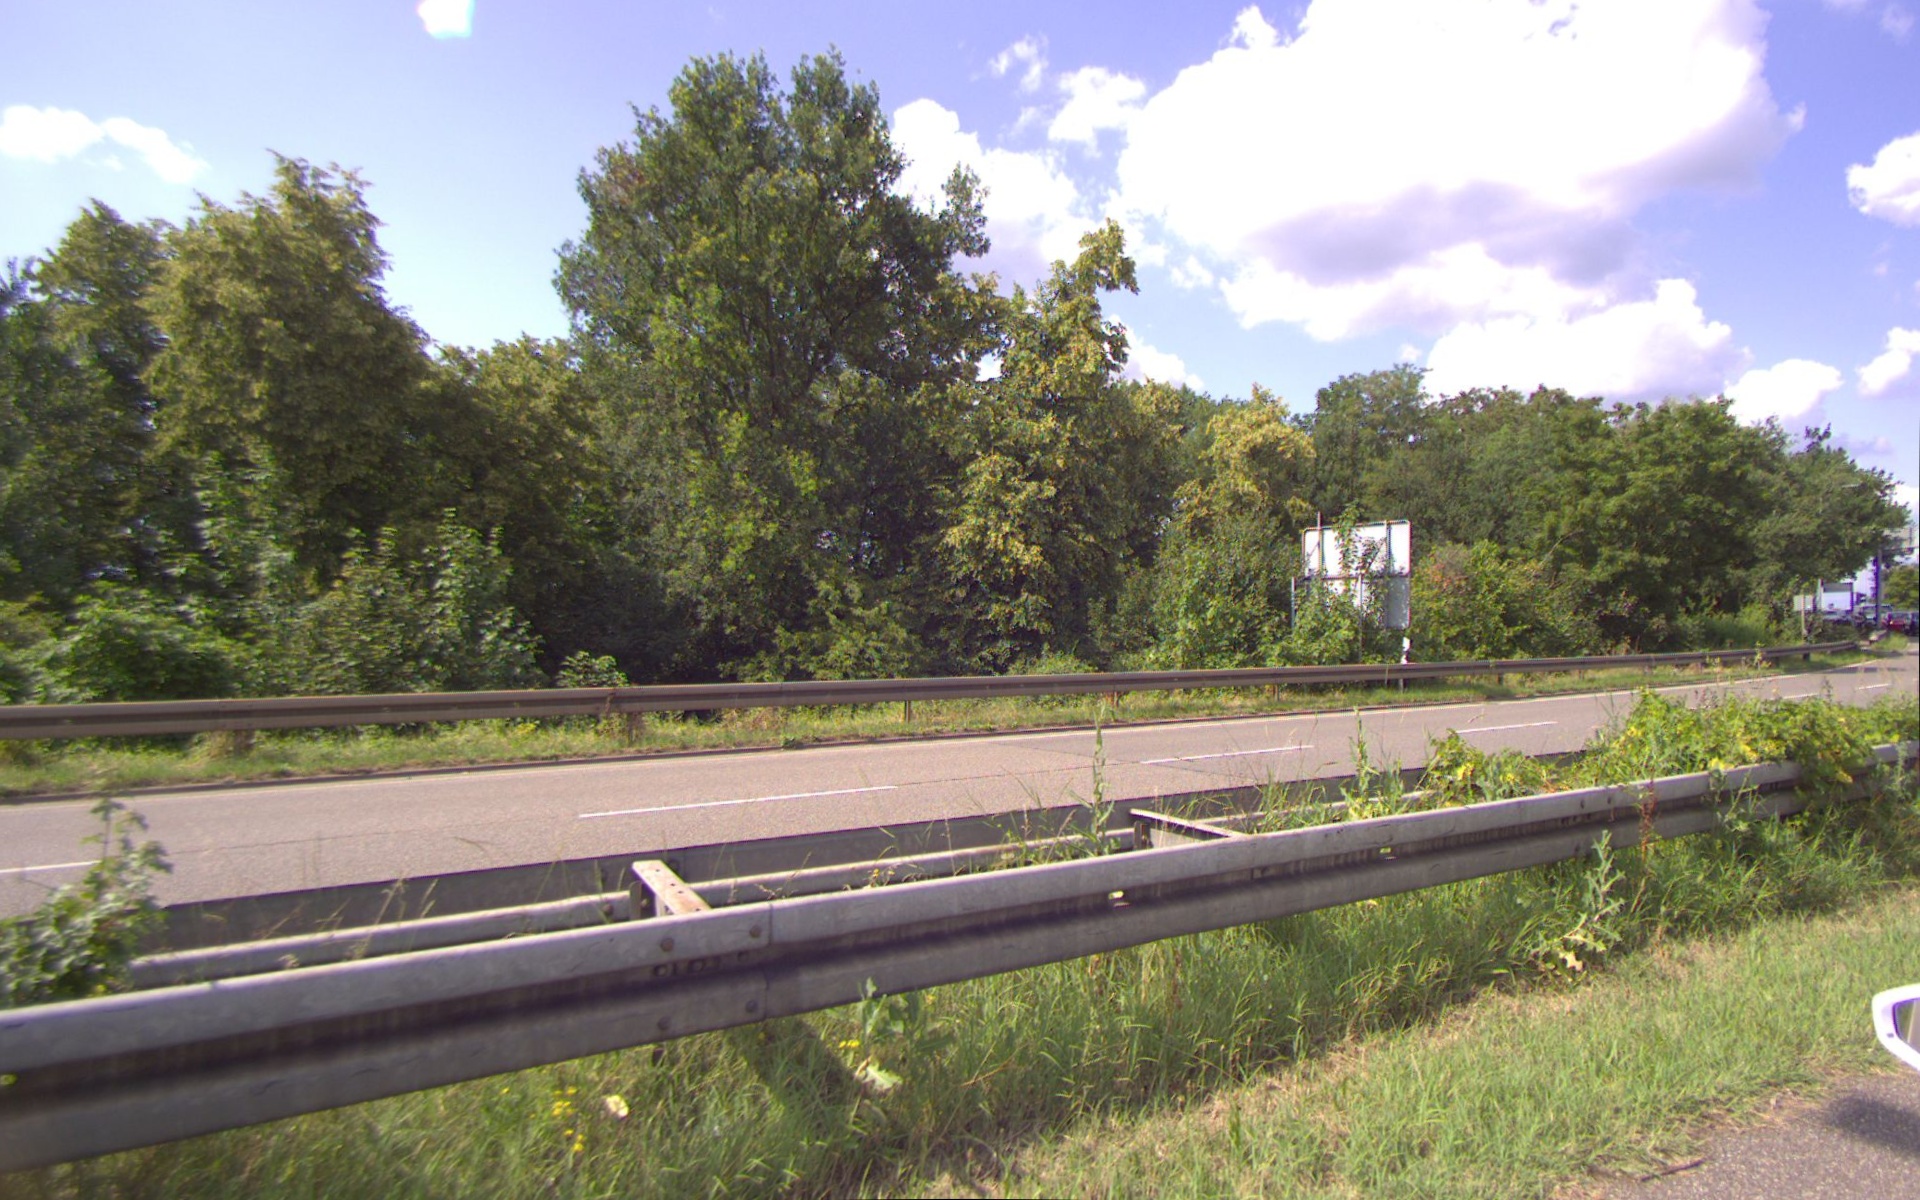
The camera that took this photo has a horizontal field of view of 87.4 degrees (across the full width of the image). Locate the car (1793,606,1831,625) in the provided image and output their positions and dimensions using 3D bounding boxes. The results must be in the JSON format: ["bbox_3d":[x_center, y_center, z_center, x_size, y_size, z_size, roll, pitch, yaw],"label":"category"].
[{"bbox_3d":[78.187,1.419,92.259,1.816,1.728,4.319,-1,-1,29],"label":"car"}]

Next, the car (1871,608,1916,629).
[{"bbox_3d":[67.306,1.334,72.464,1.708,1.496,4.035,-1,-1,33],"label":"car"}]

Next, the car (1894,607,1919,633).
[{"bbox_3d":[62.834,1.305,65.767,1.814,1.639,3.989,-1,-3,34],"label":"car"}]

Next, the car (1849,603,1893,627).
[{"bbox_3d":[70.924,1.155,78.249,1.818,1.826,4.314,-1,-1,33],"label":"car"}]
